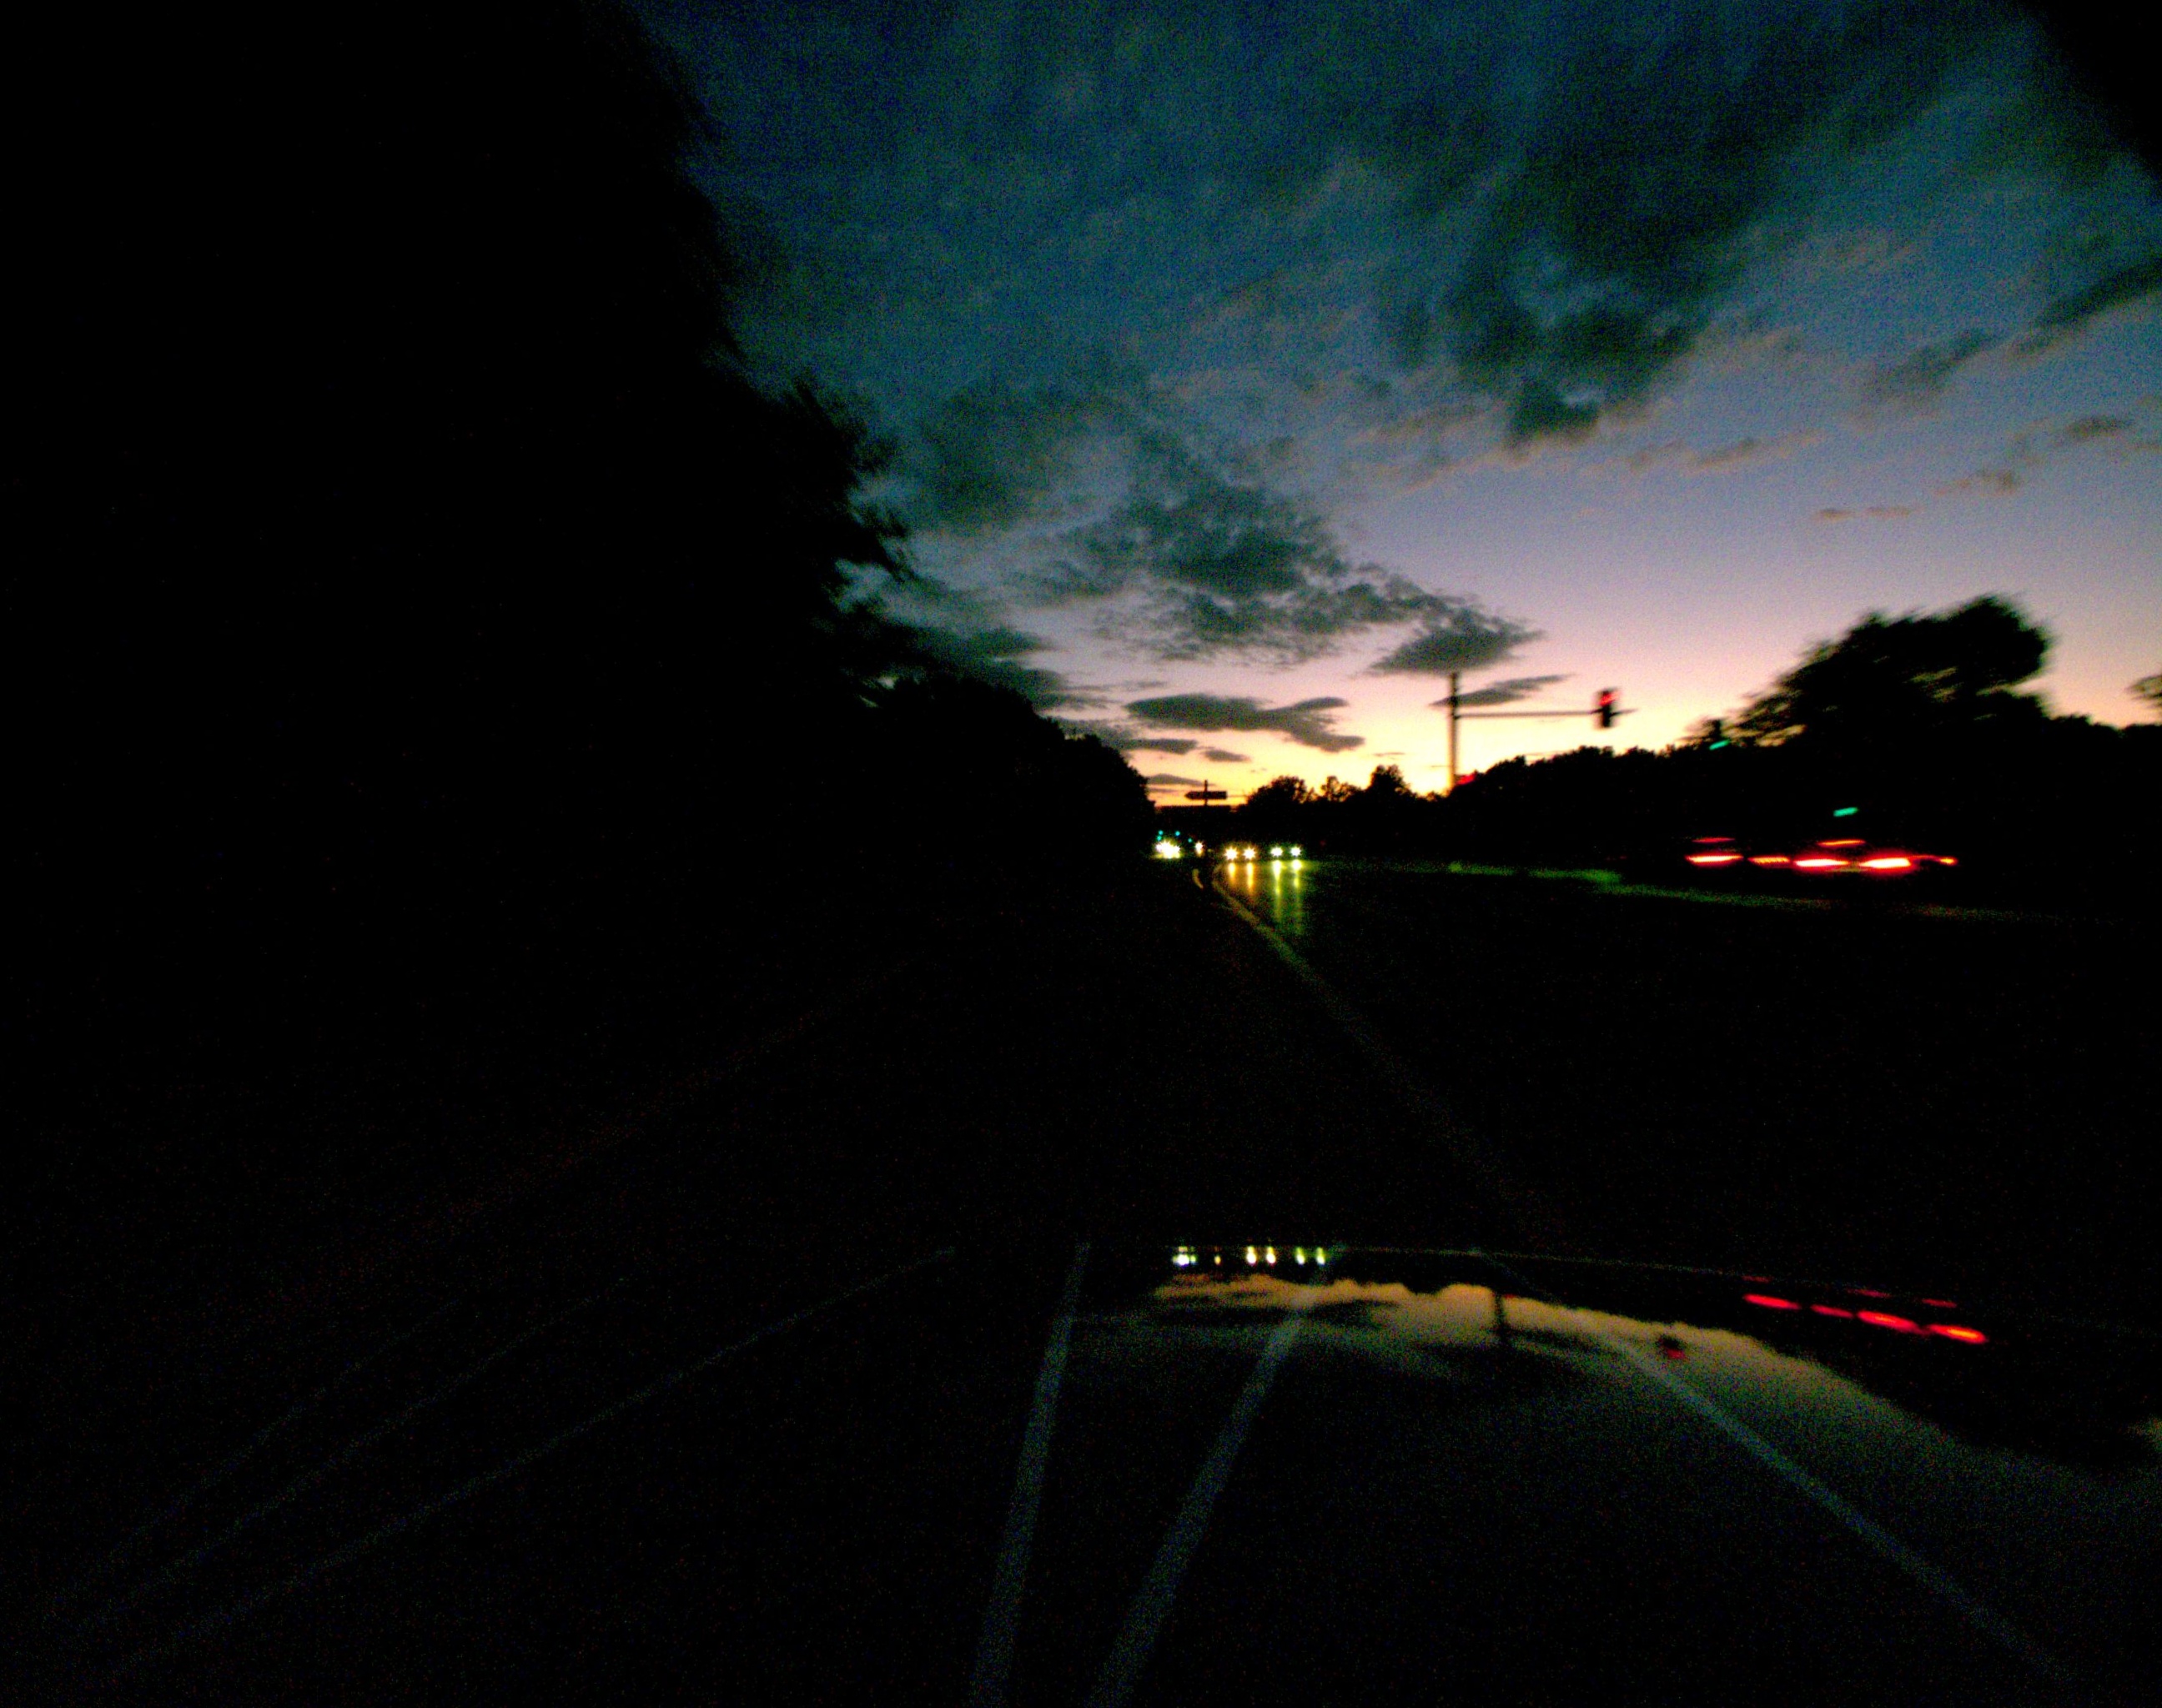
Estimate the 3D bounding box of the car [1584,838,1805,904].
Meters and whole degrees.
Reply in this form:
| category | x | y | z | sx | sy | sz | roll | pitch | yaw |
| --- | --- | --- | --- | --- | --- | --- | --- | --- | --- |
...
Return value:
| category | x | y | z | sx | sy | sz | roll | pitch | yaw |
| --- | --- | --- | --- | --- | --- | --- | --- | --- | --- |
| car | 15.126 | 0.323 | 19.196 | 1.997 | 1.445 | 5.049 | 1 | 1 | 8 |

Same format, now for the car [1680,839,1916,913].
| category | x | y | z | sx | sy | sz | roll | pitch | yaw |
| --- | --- | --- | --- | --- | --- | --- | --- | --- | --- |
| car | 18.841 | 0.476 | 20.388 | 1.998 | 1.672 | 4.873 | 0 | 2 | 5 |

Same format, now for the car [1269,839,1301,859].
| category | x | y | z | sx | sy | sz | roll | pitch | yaw |
| --- | --- | --- | --- | --- | --- | --- | --- | --- | --- |
| car | 16.487 | -0.431 | 61.546 | 1.997 | 1.445 | 4.736 | -1 | 1 | 9 |

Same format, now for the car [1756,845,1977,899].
| category | x | y | z | sx | sy | sz | roll | pitch | yaw |
| --- | --- | --- | --- | --- | --- | --- | --- | --- | --- |
| car | 23.034 | 0.453 | 22.626 | 1.997 | 1.444 | 4.736 | 0 | 1 | 6 |

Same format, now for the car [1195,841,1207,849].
| category | x | y | z | sx | sy | sz | roll | pitch | yaw |
| --- | --- | --- | --- | --- | --- | --- | --- | --- | --- |
| car | 24.222 | -1.916 | 153.669 | 2.056 | 1.587 | 4.003 | -1 | 1 | 13 |

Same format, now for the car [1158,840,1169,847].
| category | x | y | z | sx | sy | sz | roll | pitch | yaw |
| --- | --- | --- | --- | --- | --- | --- | --- | --- | --- |
| car | 17.675 | -2.238 | 162.859 | 1.999 | 1.587 | 3.999 | -1 | 1 | -1 |

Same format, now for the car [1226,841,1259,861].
| category | x | y | z | sx | sy | sz | roll | pitch | yaw |
| --- | --- | --- | --- | --- | --- | --- | --- | --- | --- |
| car | 12.179 | -0.242 | 57.599 | 1.998 | 1.445 | 4.001 | 1 | 1 | 5 |

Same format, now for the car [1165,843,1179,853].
| category | x | y | z | sx | sy | sz | roll | pitch | yaw |
| --- | --- | --- | --- | --- | --- | --- | --- | --- | --- |
| car | 15.666 | -1.005 | 130.630 | 2.005 | 1.718 | 4.003 | 0 | 1 | 13 |
